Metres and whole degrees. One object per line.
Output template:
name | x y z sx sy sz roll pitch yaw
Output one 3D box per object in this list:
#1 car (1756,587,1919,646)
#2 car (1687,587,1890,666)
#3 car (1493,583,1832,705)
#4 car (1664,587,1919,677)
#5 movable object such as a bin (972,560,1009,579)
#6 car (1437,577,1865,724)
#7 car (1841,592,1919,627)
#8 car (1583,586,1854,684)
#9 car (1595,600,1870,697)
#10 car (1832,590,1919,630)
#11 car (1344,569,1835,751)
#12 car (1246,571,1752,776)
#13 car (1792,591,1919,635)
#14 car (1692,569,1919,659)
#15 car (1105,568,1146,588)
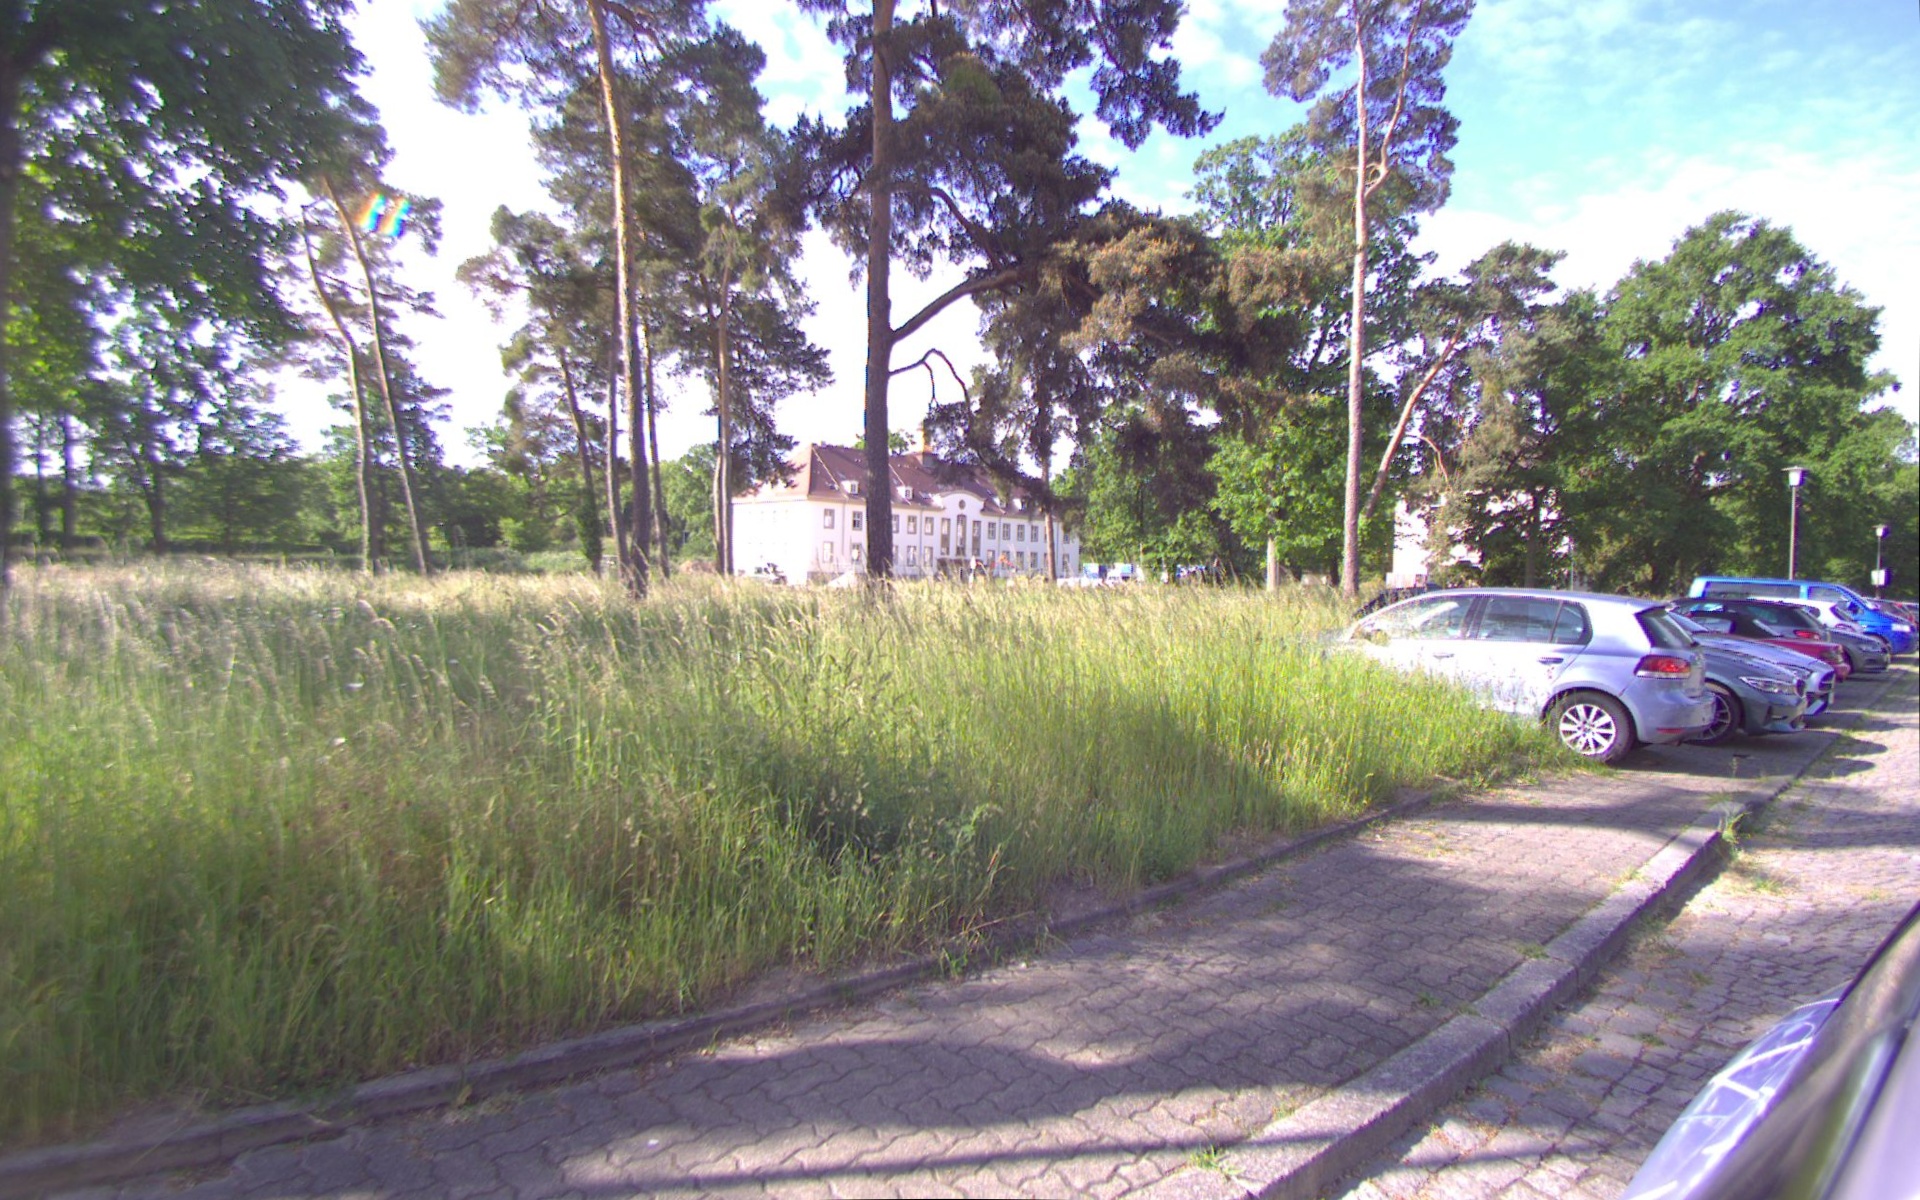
car | 28.188 0.483 32.367 1.726 1.660 3.996 0 2 -40
car | 18.240 0.531 22.381 1.424 1.509 3.263 0 2 -41
car | 10.433 0.548 15.242 1.633 1.410 3.913 0 3 -44
car | 16.445 0.560 20.192 1.478 1.509 3.629 0 2 -33
movable object such as a bin | 3.901 -3.836 128.252 1.993 2.351 4.910 3 2 43
car | 9.020 0.527 13.517 1.796 1.419 4.417 0 4 -44
car | 46.096 0.471 49.710 1.725 1.635 3.995 -1 0 -39
car | 13.858 0.560 18.639 1.523 1.509 3.774 0 2 -44
car | 12.413 0.703 16.399 1.396 1.271 3.352 0 2 -44
car | 42.731 0.437 46.396 1.726 1.763 3.994 0 0 -40
car | 7.031 0.513 11.656 4.496 1.535 1.797 5 3 44
car | 5.119 0.535 10.009 1.840 1.478 4.021 0 3 -43
car | 35.348 0.469 39.626 1.726 1.537 3.996 0 2 -40
car | 22.005 0.289 26.114 1.966 2.038 4.723 0 2 -42
car | 18.255 -2.424 111.512 4.692 2.038 1.996 0 2 -43
